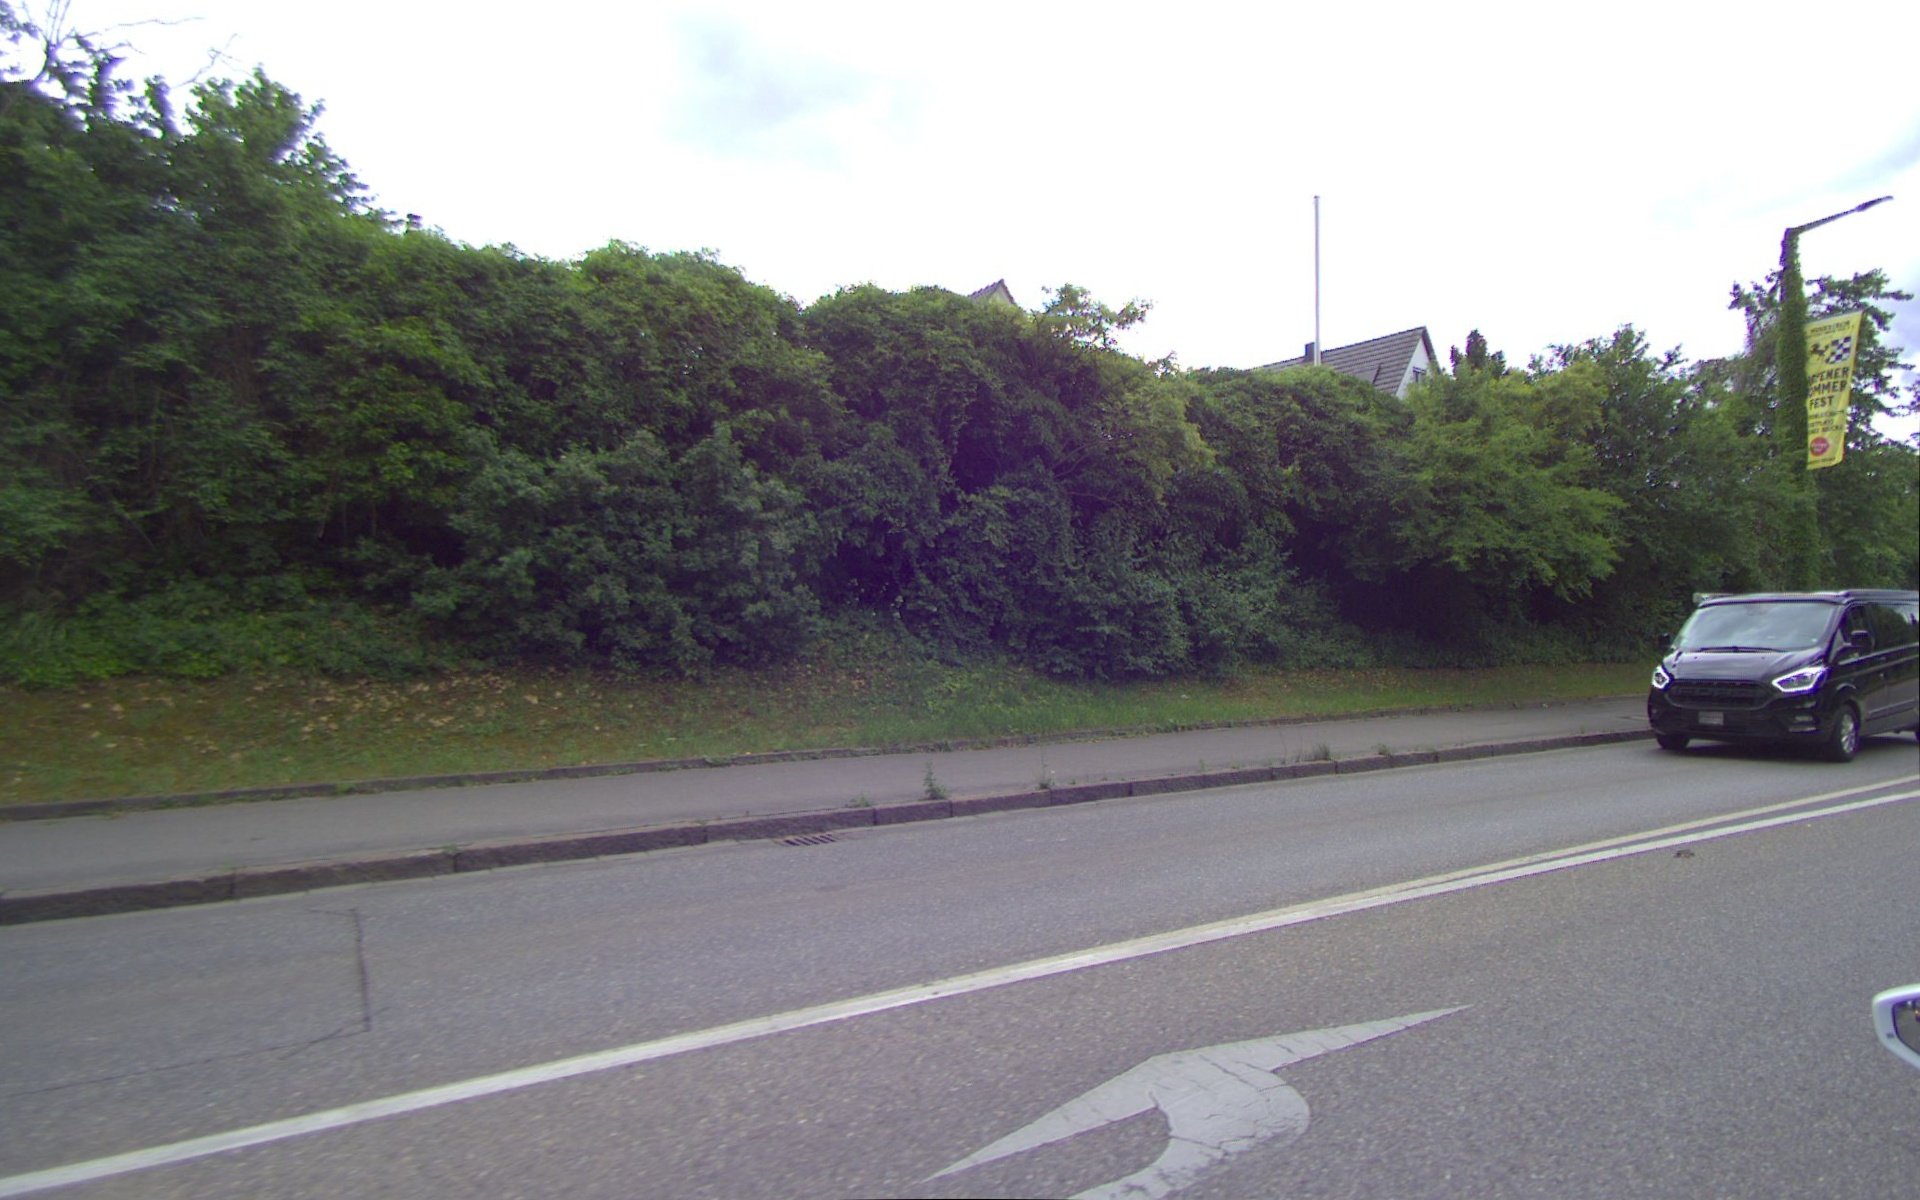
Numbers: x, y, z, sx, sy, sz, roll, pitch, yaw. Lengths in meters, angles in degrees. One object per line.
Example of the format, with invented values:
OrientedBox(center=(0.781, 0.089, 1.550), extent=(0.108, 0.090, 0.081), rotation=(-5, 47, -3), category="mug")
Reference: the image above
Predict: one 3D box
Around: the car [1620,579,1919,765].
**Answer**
OrientedBox(center=(11.136, 0.885, 13.389), extent=(5.060, 2.063, 1.983), rotation=(1, -3, -33), category="car")
